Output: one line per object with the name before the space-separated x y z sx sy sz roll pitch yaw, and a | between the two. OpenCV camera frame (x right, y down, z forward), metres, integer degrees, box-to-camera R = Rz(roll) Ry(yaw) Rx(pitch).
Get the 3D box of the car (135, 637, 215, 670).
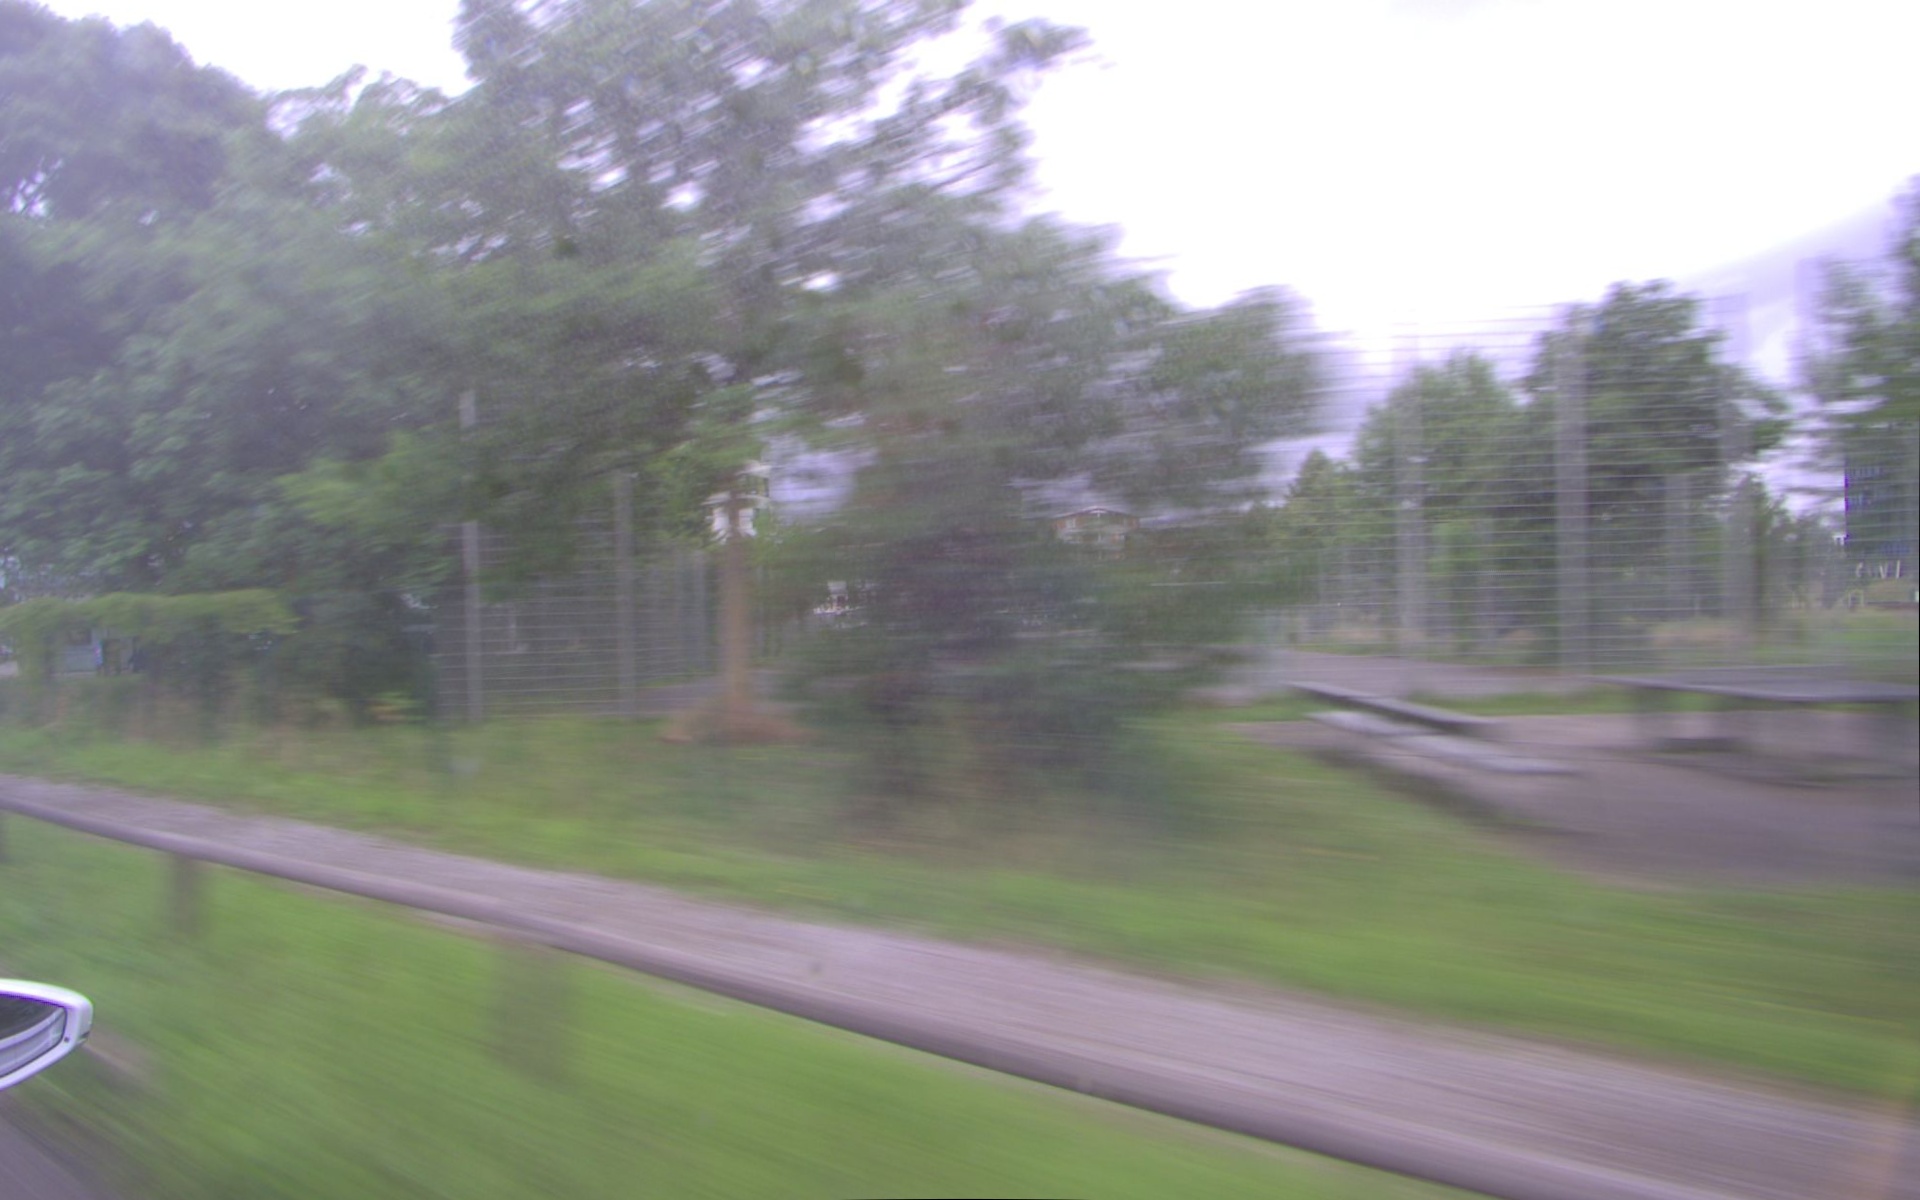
car | -36.934 2.503 47.093 3.719 1.449 1.820 -2 -1 32
